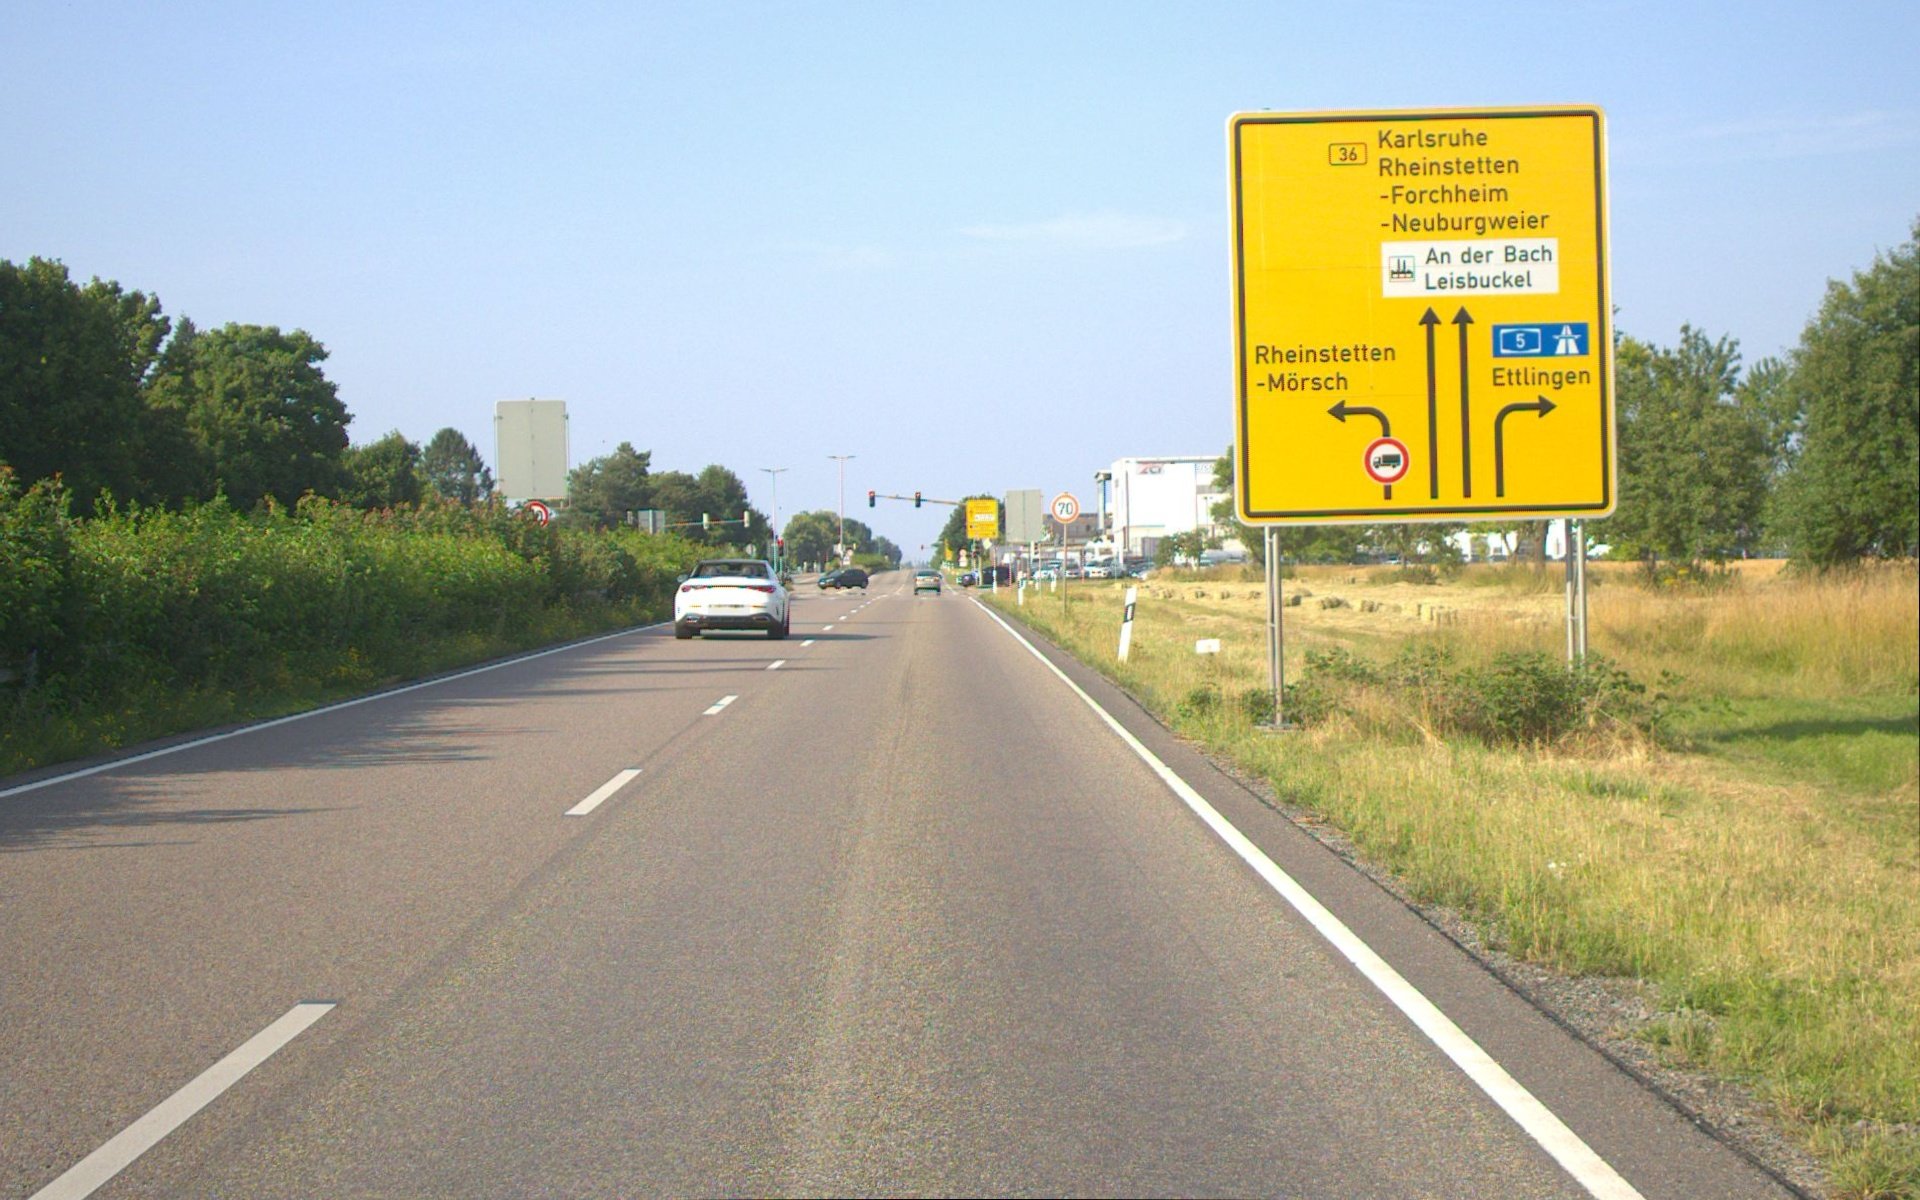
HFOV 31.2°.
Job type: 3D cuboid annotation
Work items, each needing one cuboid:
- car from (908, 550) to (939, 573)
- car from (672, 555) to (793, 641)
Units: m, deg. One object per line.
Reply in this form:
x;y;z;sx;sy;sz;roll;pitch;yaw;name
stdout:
-2.406;-2.497;223.863;1.993;1.481;4.000;0;1;-1;car
-3.902;-0.059;59.611;1.909;1.417;4.000;0;1;-1;car
